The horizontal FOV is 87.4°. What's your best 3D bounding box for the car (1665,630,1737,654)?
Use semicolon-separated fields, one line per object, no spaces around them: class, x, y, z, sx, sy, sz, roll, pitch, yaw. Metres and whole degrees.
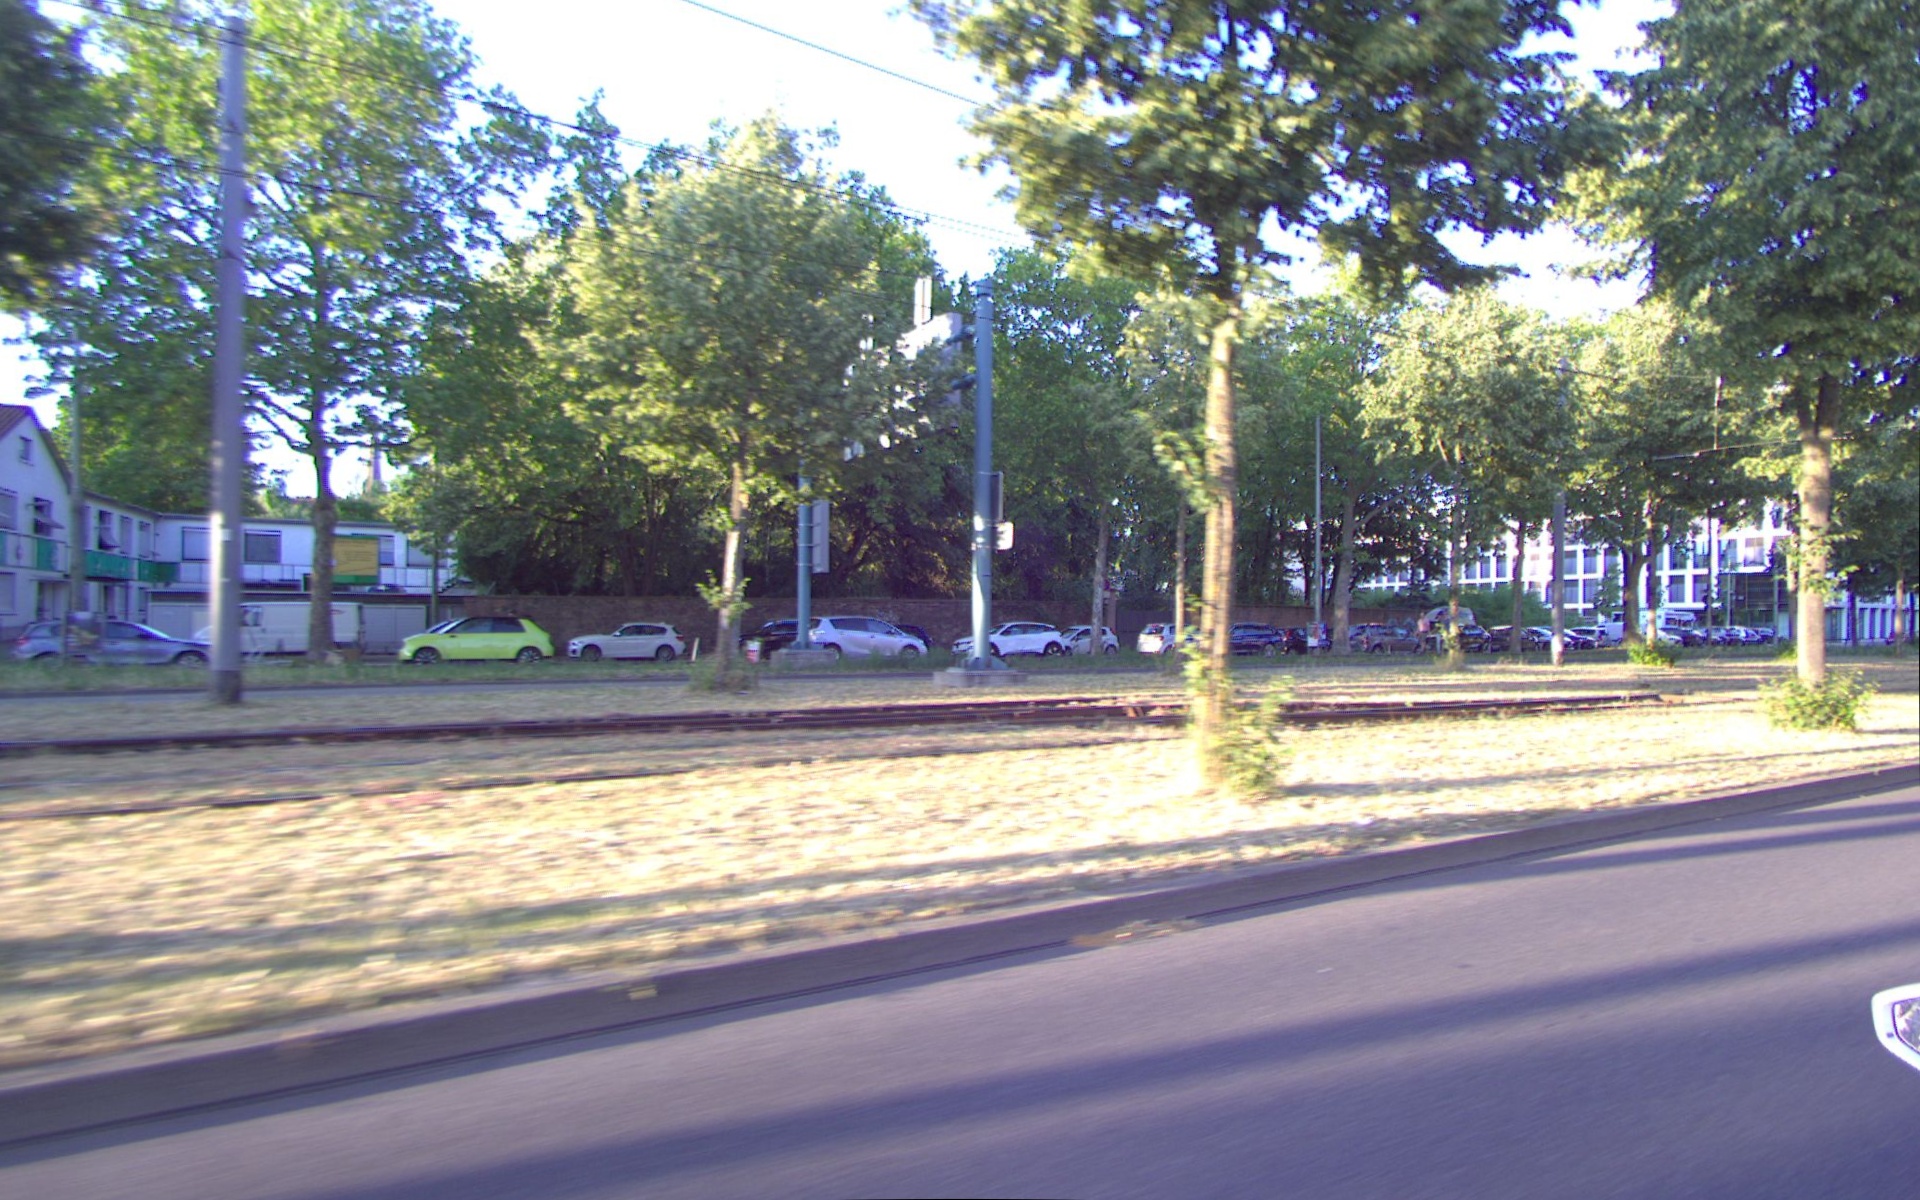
car;55.549;3.144;75.345;1.901;1.661;3.964;1;-1;-33

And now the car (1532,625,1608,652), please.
car;40.927;2.560;67.510;1.901;1.661;3.964;1;-1;-33

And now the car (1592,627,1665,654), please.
car;48.177;2.880;72.478;1.988;1.869;3.970;1;-1;-29

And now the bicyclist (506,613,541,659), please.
bicyclist;-14.992;1.233;34.531;1.070;1.553;0.726;1;-1;-24

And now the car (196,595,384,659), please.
car;-22.376;0.914;33.815;4.993;2.040;1.986;1;-1;-27

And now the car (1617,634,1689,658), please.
car;50.576;3.328;73.423;1.895;1.661;3.978;1;-1;-23

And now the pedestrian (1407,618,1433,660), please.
pedestrian;19.829;1.695;43.306;0.858;1.782;0.688;2;-1;-38

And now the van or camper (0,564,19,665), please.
van or camper;-25.200;0.294;22.372;5.705;2.396;2.277;1;-1;-26

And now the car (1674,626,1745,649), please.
car;57.272;2.822;76.802;1.901;1.661;3.964;1;-1;-33

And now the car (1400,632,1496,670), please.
car;24.066;2.507;49.493;4.736;1.773;1.984;2;-1;-31

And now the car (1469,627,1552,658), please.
car;28.878;2.224;52.686;3.949;1.505;1.986;2;-1;-27

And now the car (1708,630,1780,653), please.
car;60.039;3.189;76.986;1.901;1.661;3.964;1;-1;-33

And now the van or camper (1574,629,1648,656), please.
van or camper;45.722;2.972;70.613;1.984;1.815;3.954;1;-1;-40

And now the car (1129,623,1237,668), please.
car;9.349;1.895;42.142;4.104;1.773;1.988;2;-1;-25

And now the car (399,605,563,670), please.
car;-13.260;1.023;27.856;3.952;1.661;1.984;1;-1;-30

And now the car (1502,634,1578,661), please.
car;38.210;3.084;66.278;1.898;1.661;3.971;1;-1;-28

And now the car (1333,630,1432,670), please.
car;19.556;2.305;46.495;4.104;1.773;1.988;2;-1;-25

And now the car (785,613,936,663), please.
car;-3.245;1.244;32.947;4.502;1.518;1.985;2;-1;-30

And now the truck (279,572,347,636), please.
truck;-38.252;0.272;59.582;2.259;3.566;6.655;1;-1;-23

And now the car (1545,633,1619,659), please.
car;42.883;3.124;69.329;1.901;1.661;3.964;1;-1;-33

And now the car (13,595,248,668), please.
car;-20.173;0.773;24.701;4.162;1.658;1.983;2;-1;-32

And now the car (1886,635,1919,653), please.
car;85.907;3.972;91.066;3.450;1.602;1.852;1;-1;-29

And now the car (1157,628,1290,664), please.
car;10.450;1.800;39.777;5.075;1.332;1.987;2;-1;-27

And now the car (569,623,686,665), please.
car;-12.693;1.648;38.356;3.997;1.511;1.854;1;-1;-27

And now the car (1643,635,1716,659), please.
car;53.062;3.465;74.156;1.901;1.661;3.964;1;-1;-33

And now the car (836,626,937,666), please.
car;-3.184;1.976;43.382;3.945;1.662;1.988;1;-1;-25

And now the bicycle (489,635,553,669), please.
bicycle;-15.055;1.781;34.496;1.989;1.105;0.729;1;-1;-25

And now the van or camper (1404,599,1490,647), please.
van or camper;29.240;1.389;60.229;5.434;2.771;2.074;2;-1;-32

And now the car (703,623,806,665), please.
car;-8.410;1.776;41.097;3.789;1.617;1.759;1;-1;-27

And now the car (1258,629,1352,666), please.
car;15.278;2.103;44.465;3.785;1.581;1.798;2;-1;-25

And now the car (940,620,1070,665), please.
car;1.593;1.494;35.497;4.255;1.519;1.891;2;-1;-30

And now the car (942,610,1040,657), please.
car;1.379;1.509;45.274;3.944;2.040;1.989;1;-1;-24

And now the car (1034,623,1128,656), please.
car;5.694;1.846;47.248;3.943;1.506;1.989;1;-1;-23

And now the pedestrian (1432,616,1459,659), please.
pedestrian;20.359;1.576;42.103;0.857;1.766;0.689;2;-1;-32

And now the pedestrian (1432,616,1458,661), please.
pedestrian;20.820;1.661;43.094;0.858;1.895;0.688;2;-1;-38

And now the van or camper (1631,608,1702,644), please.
van or camper;63.705;2.375;90.551;6.180;3.126;2.701;1;-1;-27
